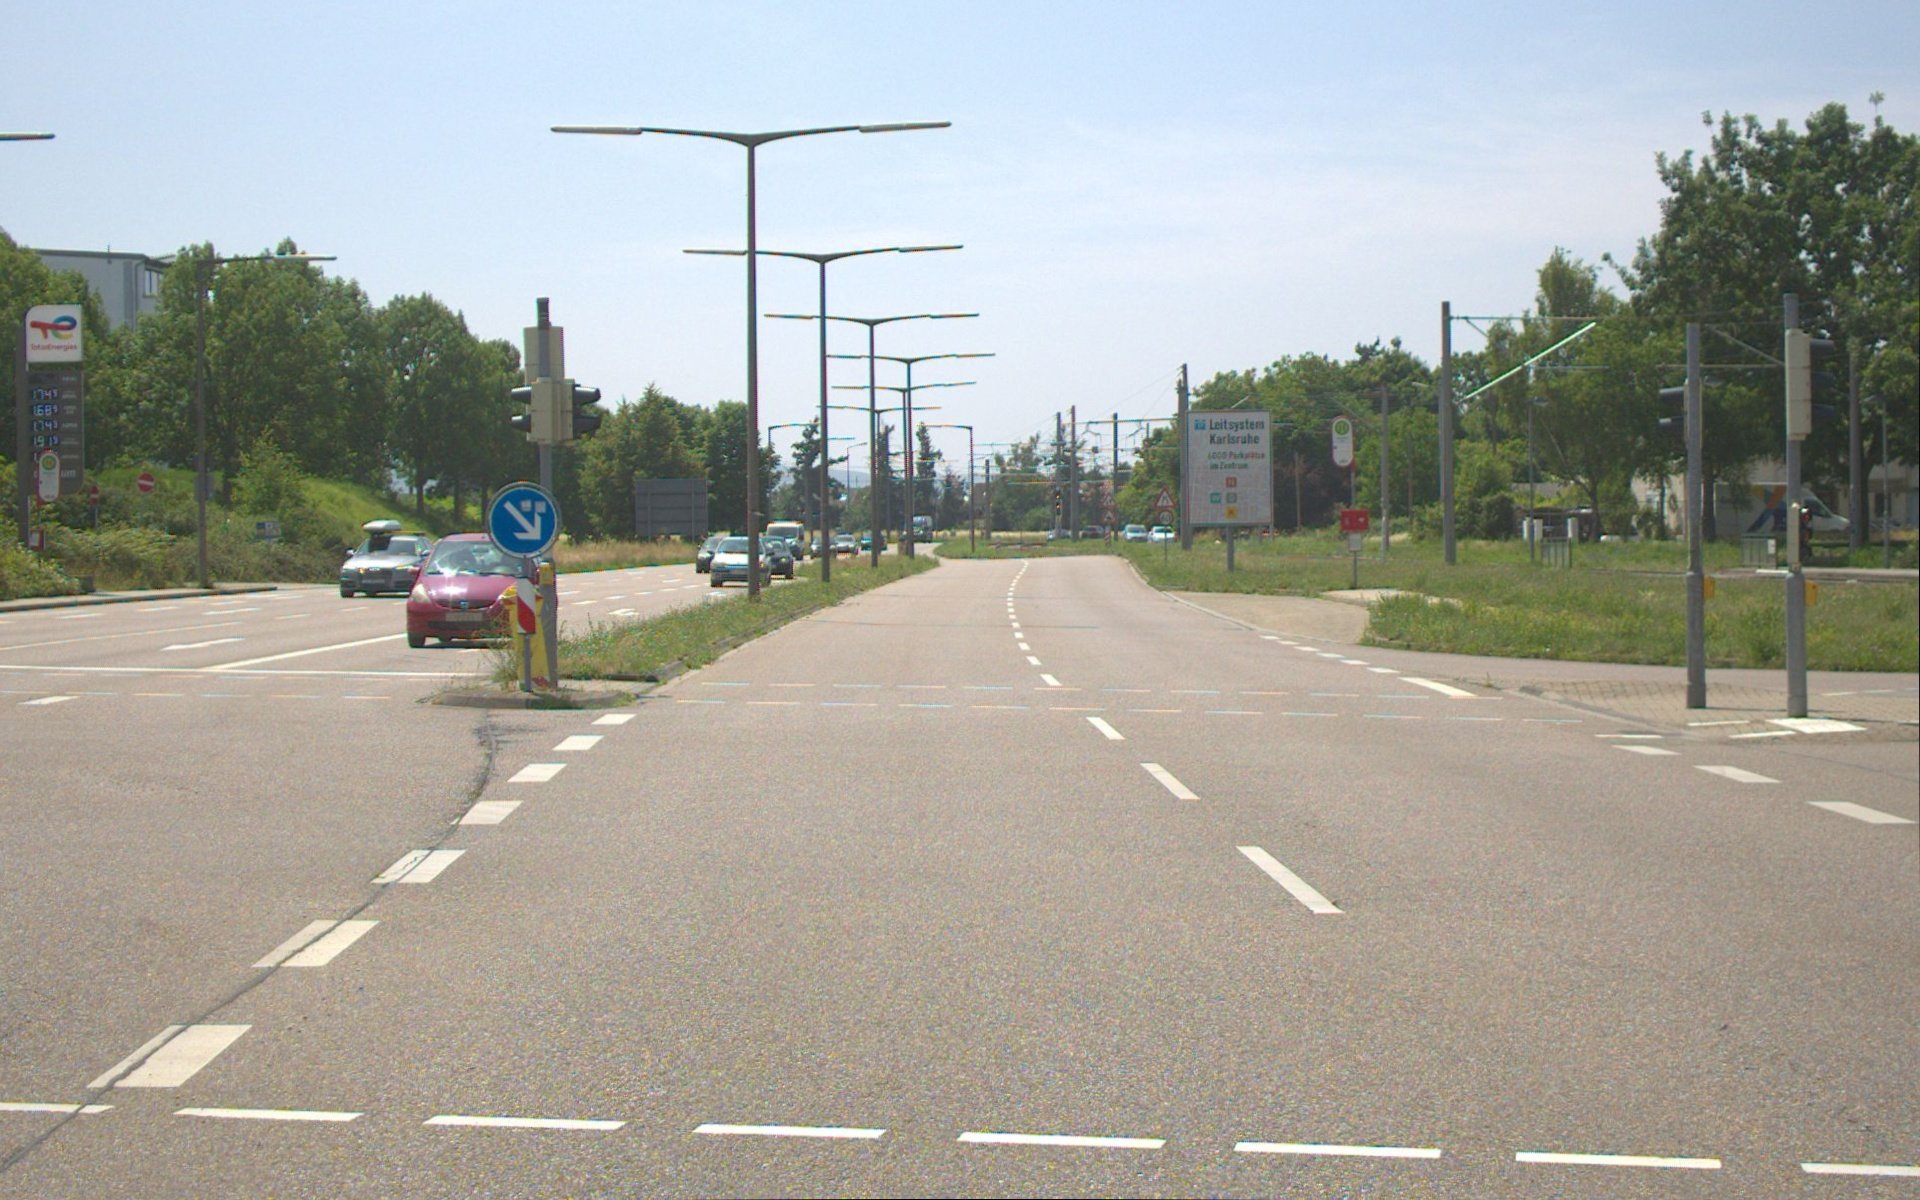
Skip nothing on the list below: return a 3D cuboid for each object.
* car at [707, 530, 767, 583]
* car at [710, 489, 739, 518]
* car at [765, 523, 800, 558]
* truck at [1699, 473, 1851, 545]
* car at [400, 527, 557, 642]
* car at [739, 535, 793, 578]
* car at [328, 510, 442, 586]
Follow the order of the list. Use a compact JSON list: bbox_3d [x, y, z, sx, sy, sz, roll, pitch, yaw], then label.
[{"bbox_3d":[-6.360,-1.255,98.152,1.560,1.418,3.854,0,2,-1],"label":"car"},{"bbox_3d":[-17.041,-6.984,248.773,1.993,2.007,4.001,1,0,-4],"label":"car"},{"bbox_3d":[-10.489,-3.488,203.348,1.993,2.007,4.001,1,0,-4],"label":"car"},{"bbox_3d":[34.998,-3.904,147.728,5.839,2.833,2.321,-2,1,-7],"label":"truck"},{"bbox_3d":[-6.531,-0.245,46.975,1.658,1.485,4.001,0,1,-1],"label":"car"},{"bbox_3d":[-6.612,-1.498,117.370,1.675,1.429,4.191,0,1,-1],"label":"car"},{"bbox_3d":[-13.568,-1.248,81.425,1.964,1.744,5.023,0,1,-1],"label":"car"}]
